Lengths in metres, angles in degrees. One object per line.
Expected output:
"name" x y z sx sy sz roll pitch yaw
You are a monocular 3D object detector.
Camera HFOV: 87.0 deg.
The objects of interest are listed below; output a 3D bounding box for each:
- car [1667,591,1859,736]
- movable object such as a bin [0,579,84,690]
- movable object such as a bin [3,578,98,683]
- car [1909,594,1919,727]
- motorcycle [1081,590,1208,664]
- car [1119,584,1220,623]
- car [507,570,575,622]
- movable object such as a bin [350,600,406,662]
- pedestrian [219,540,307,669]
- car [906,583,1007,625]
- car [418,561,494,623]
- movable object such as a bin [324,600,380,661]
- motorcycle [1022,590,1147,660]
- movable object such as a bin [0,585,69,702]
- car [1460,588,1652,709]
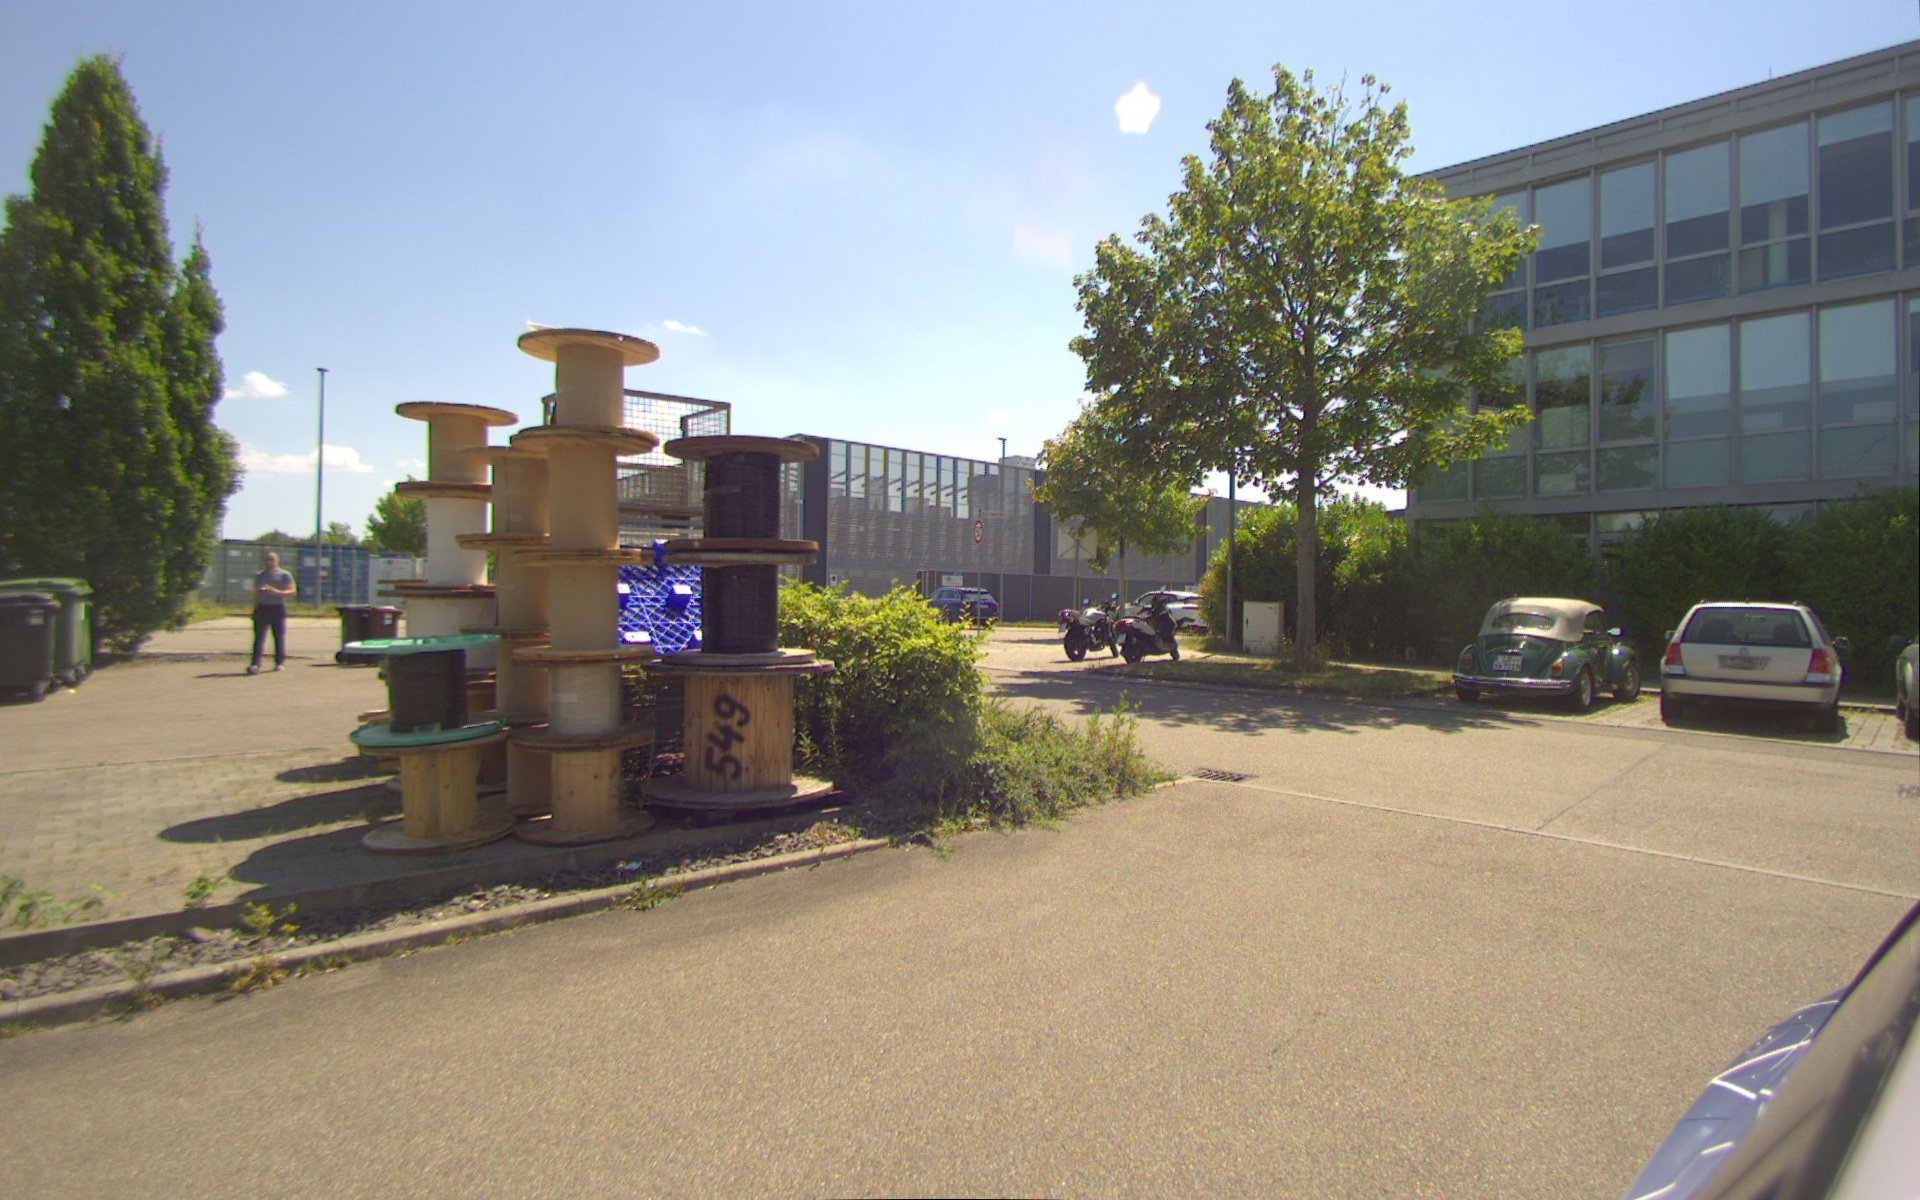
"car" 10.055 0.657 12.597 1.637 1.470 3.547 2 2 41
"movable object such as a bin" -11.425 0.404 12.513 0.786 1.314 0.757 0 1 -33
"movable object such as a bin" -11.879 0.376 13.247 0.786 1.314 0.810 0 1 -33
"car" 11.942 0.699 11.360 1.726 1.470 3.547 2 2 41
"motorcycle" 3.513 0.467 19.096 2.788 1.275 0.872 -1 1 -43
"car" 8.453 0.107 41.202 1.744 1.494 4.423 0 1 -25
"car" -13.010 -0.159 31.379 1.812 1.515 4.008 1 1 -23
"movable object such as a bin" -9.123 0.480 15.870 0.579 0.929 0.543 1 1 24
"pedestrian" -9.976 0.065 14.513 0.792 1.791 0.770 1 0 -11
"car" -0.198 0.123 36.894 1.822 1.427 4.452 0 0 -28
"car" -15.066 -0.263 30.427 1.812 1.727 4.008 0 1 -23
"movable object such as a bin" -9.700 0.474 16.155 0.579 0.929 0.543 1 1 24
"motorcycle" 2.488 0.451 19.959 2.788 1.275 0.872 -1 1 -43
"movable object such as a bin" -10.698 0.474 11.455 0.786 1.265 0.877 0 1 -33
"car" 8.424 0.579 14.203 3.364 1.463 1.519 -1 2 -45
